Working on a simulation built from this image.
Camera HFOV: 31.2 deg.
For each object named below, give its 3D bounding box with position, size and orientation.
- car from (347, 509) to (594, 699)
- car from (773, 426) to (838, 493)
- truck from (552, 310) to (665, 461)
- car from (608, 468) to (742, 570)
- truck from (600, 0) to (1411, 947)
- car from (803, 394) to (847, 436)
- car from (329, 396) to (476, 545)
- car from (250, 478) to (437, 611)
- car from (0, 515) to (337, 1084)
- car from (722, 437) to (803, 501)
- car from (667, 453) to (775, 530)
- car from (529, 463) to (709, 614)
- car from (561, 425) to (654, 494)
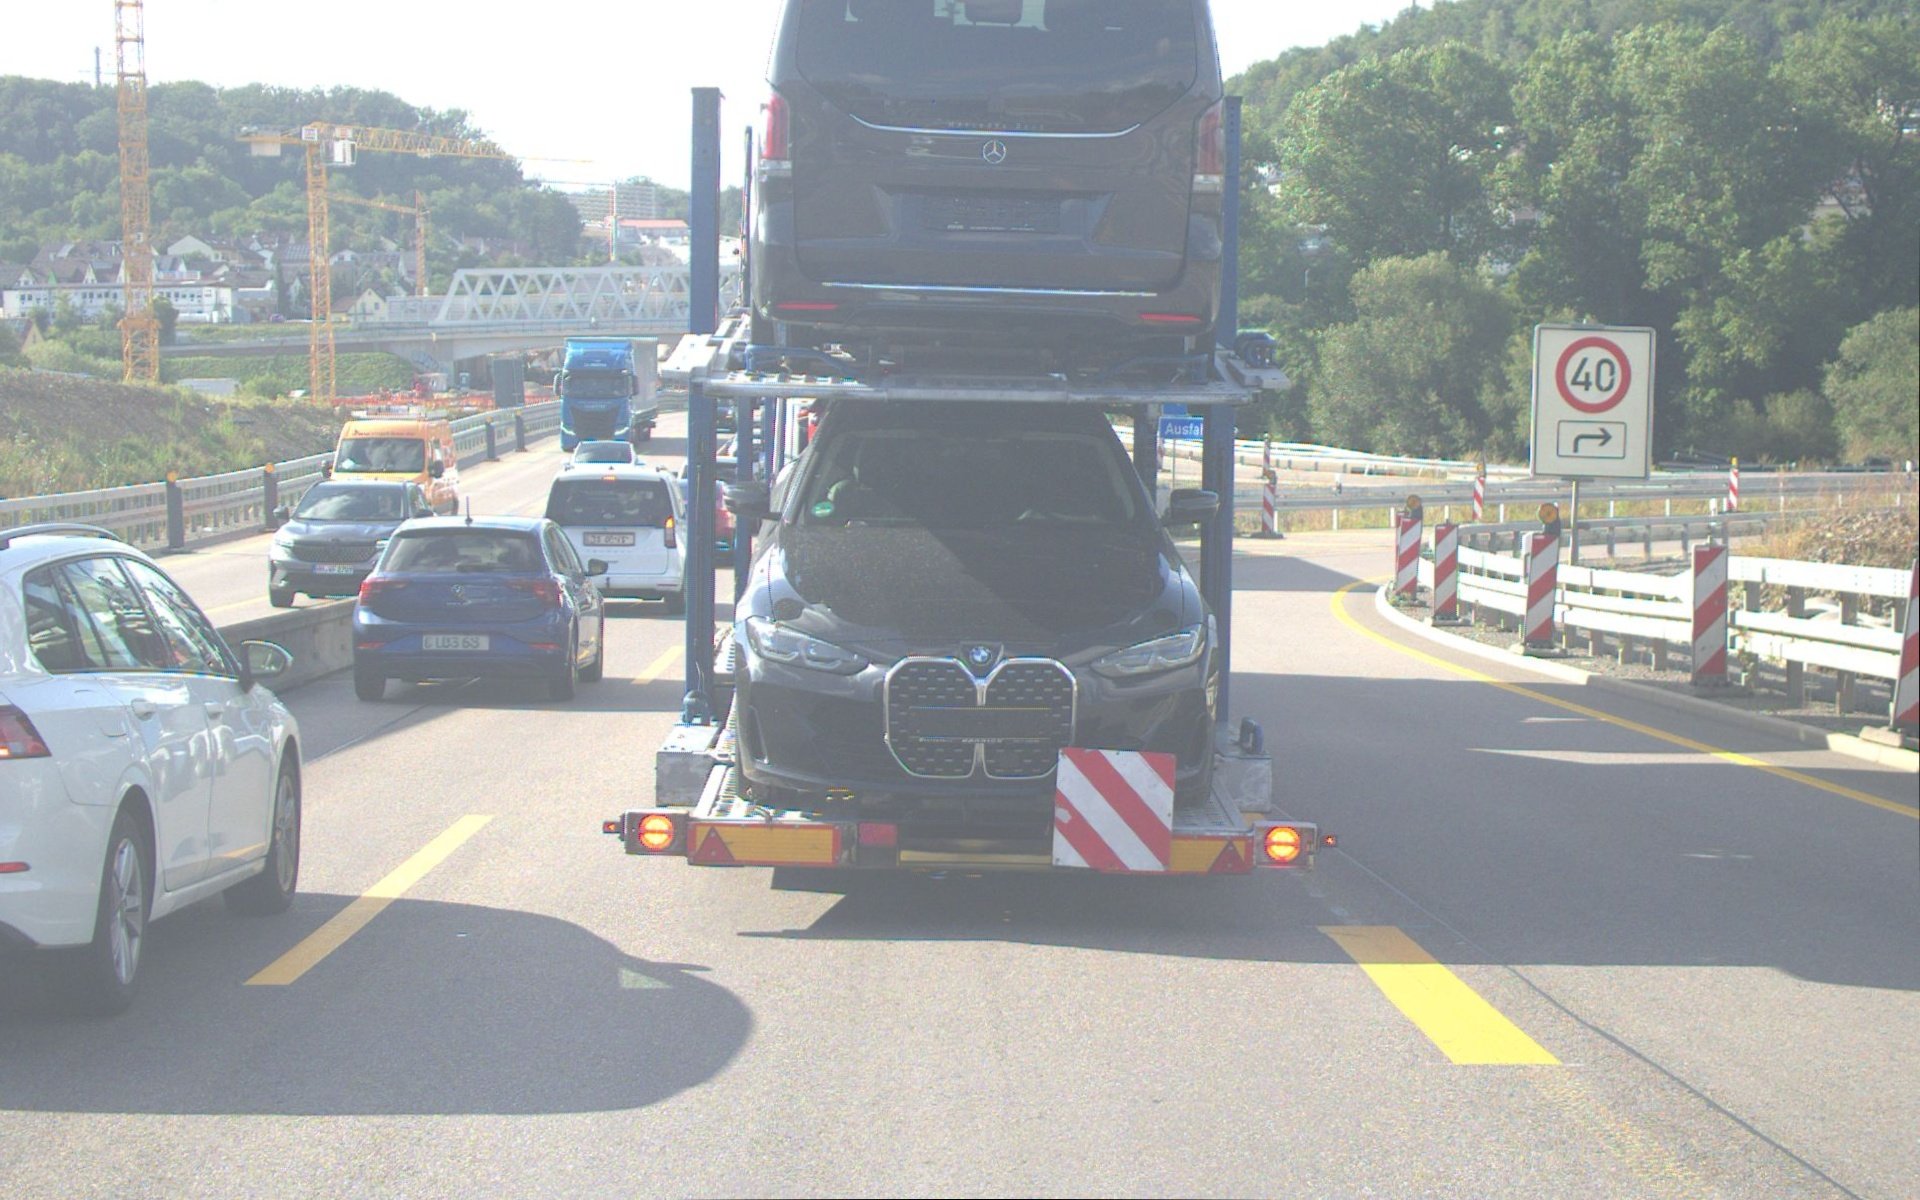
[{"bbox_3d":[-3.898,-0.017,27.897,1.721,1.417,4.001,1,1,-5],"label":"car"},{"bbox_3d":[-5.130,-4.672,114.780,1.993,2.007,4.000,1,0,0],"label":"car"},{"bbox_3d":[-13.085,-7.910,129.059,2.822,4.772,13.054,1,0,0],"label":"truck"},{"bbox_3d":[-4.747,-1.327,57.839,1.993,1.551,4.401,1,0,-2],"label":"car"},{"bbox_3d":[-0.087,-0.991,21.589,2.753,3.941,18.892,2,1,-2],"label":"truck"},{"bbox_3d":[-5.928,-8.106,150.796,1.844,1.642,4.505,1,1,-3],"label":"car"},{"bbox_3d":[-11.398,-2.720,70.673,1.993,2.869,6.065,1,4,0],"label":"car"},{"bbox_3d":[-8.040,-0.736,45.155,1.844,1.642,4.237,1,1,-2],"label":"car"},{"bbox_3d":[-3.352,0.472,11.387,1.770,1.486,4.517,1,2,0],"label":"car"},{"bbox_3d":[-5.267,-3.502,91.976,1.993,1.660,4.001,1,2,-1],"label":"car"},{"bbox_3d":[-5.085,-2.294,73.500,1.993,1.546,4.000,1,1,0],"label":"car"},{"bbox_3d":[-4.267,-0.733,43.532,1.823,1.786,4.000,1,0,1],"label":"car"},{"bbox_3d":[-8.915,-3.575,87.204,1.993,1.678,4.001,1,3,-1],"label":"car"}]
